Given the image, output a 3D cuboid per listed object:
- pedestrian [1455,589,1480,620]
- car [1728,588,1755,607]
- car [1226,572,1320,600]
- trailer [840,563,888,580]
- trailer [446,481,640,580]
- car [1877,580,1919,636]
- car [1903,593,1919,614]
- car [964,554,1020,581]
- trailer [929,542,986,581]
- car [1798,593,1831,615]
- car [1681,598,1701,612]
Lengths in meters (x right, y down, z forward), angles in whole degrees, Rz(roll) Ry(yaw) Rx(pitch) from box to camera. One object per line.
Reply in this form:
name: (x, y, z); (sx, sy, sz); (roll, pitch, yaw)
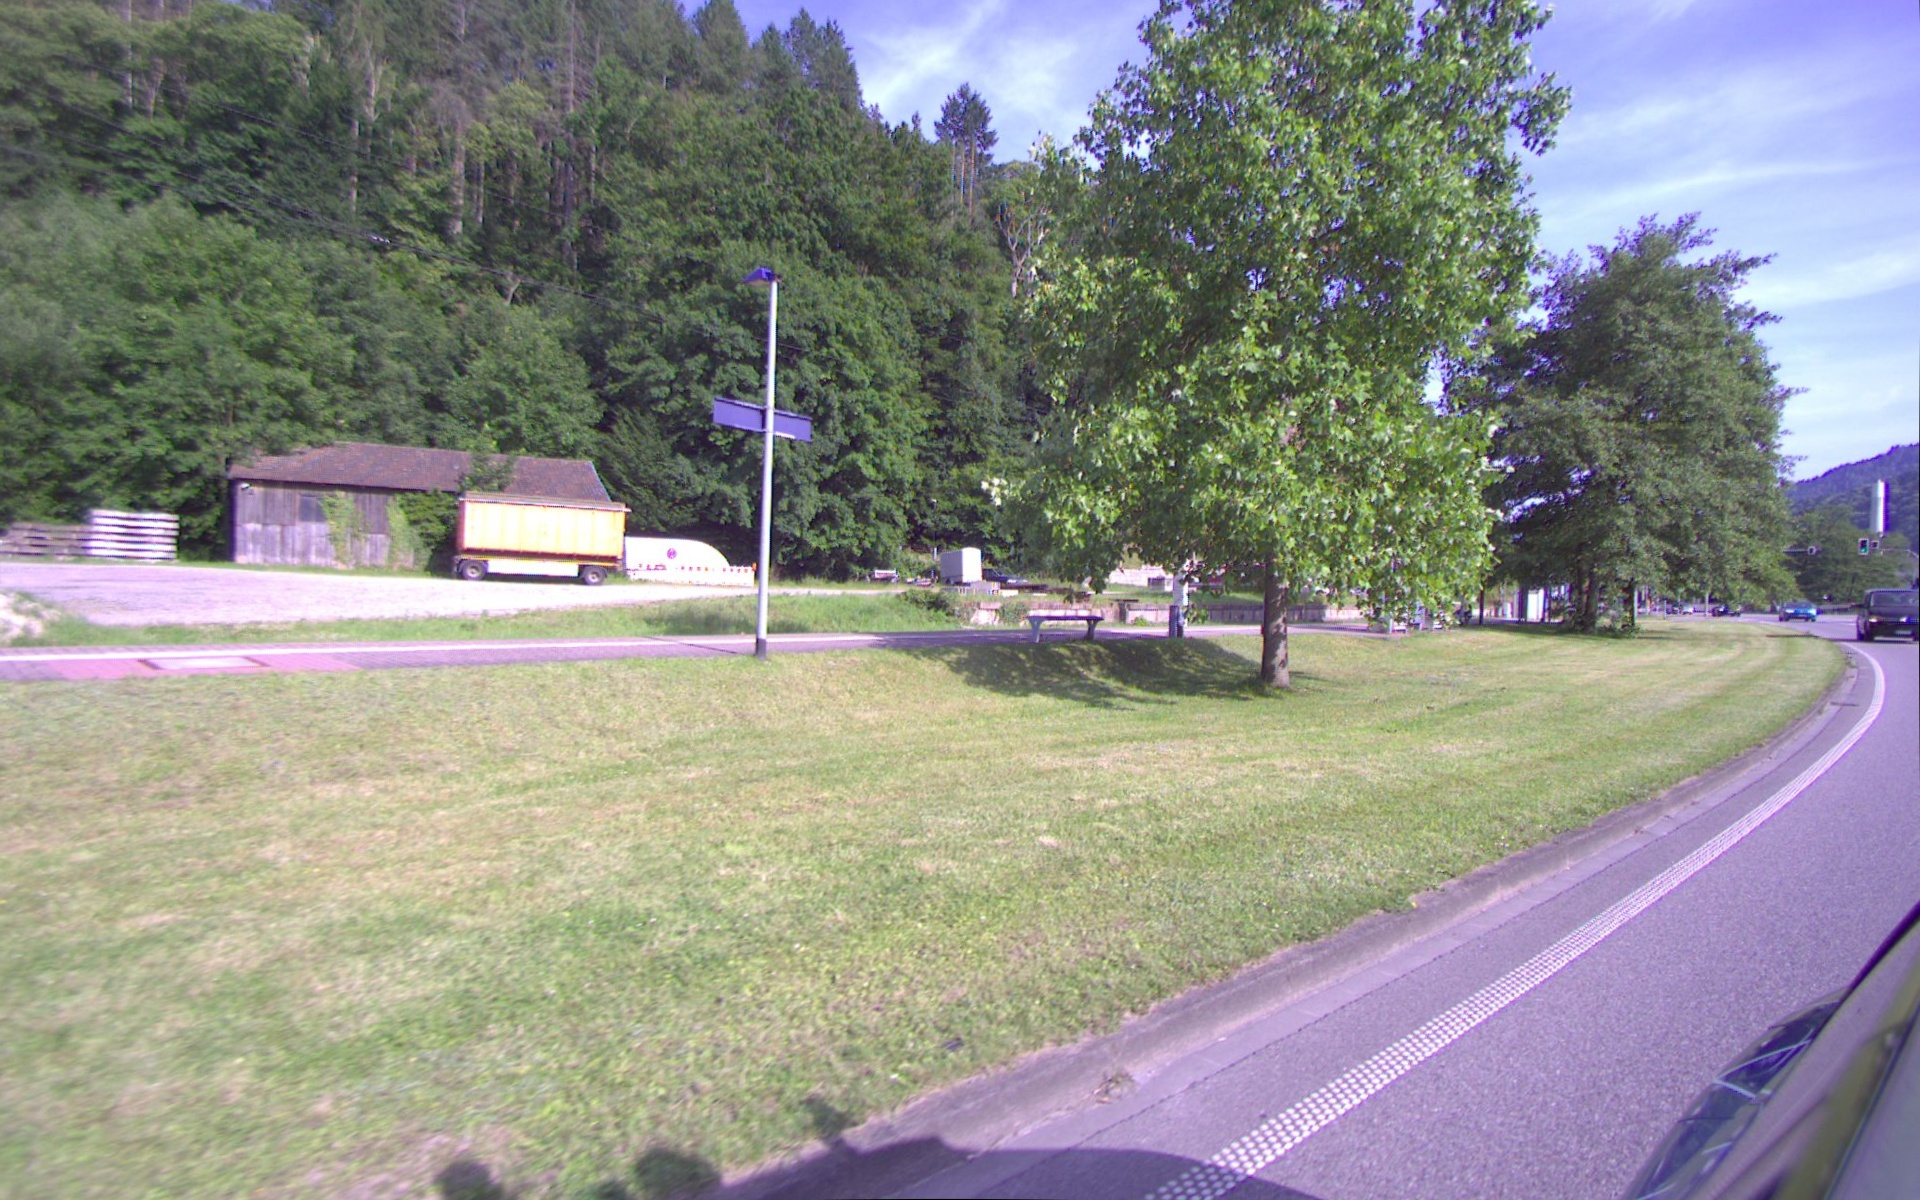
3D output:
pedestrian: (19.941, 0.167, 39.758); (0.713, 1.175, 0.636); (0, 2, -41)
car: (79.174, -0.261, 102.544); (1.991, 1.816, 3.942); (3, 2, 40)
car: (18.675, -0.822, 60.447); (4.946, 1.607, 2.109); (1, 1, 41)
trailer: (-5.618, -1.642, 58.974); (1.702, 0.926, 3.076); (0, 2, -30)
trailer: (-18.373, -2.962, 44.735); (7.577, 3.941, 2.619); (1, 2, -30)
car: (34.615, 0.268, 36.751); (1.904, 1.902, 4.281); (2, 1, 43)
car: (69.305, 0.244, 72.739); (1.670, 1.478, 4.150); (0, 0, 34)
car: (1.915, -1.967, 61.097); (1.638, 1.505, 3.617); (1, 2, -32)
trailer: (-0.167, -2.320, 60.909); (1.782, 2.216, 3.709); (1, 2, -30)
car: (62.227, 0.264, 73.736); (1.761, 1.478, 3.525); (3, 2, 39)
car: (88.118, 0.618, 122.031); (1.866, 1.478, 3.683); (3, 2, 35)
